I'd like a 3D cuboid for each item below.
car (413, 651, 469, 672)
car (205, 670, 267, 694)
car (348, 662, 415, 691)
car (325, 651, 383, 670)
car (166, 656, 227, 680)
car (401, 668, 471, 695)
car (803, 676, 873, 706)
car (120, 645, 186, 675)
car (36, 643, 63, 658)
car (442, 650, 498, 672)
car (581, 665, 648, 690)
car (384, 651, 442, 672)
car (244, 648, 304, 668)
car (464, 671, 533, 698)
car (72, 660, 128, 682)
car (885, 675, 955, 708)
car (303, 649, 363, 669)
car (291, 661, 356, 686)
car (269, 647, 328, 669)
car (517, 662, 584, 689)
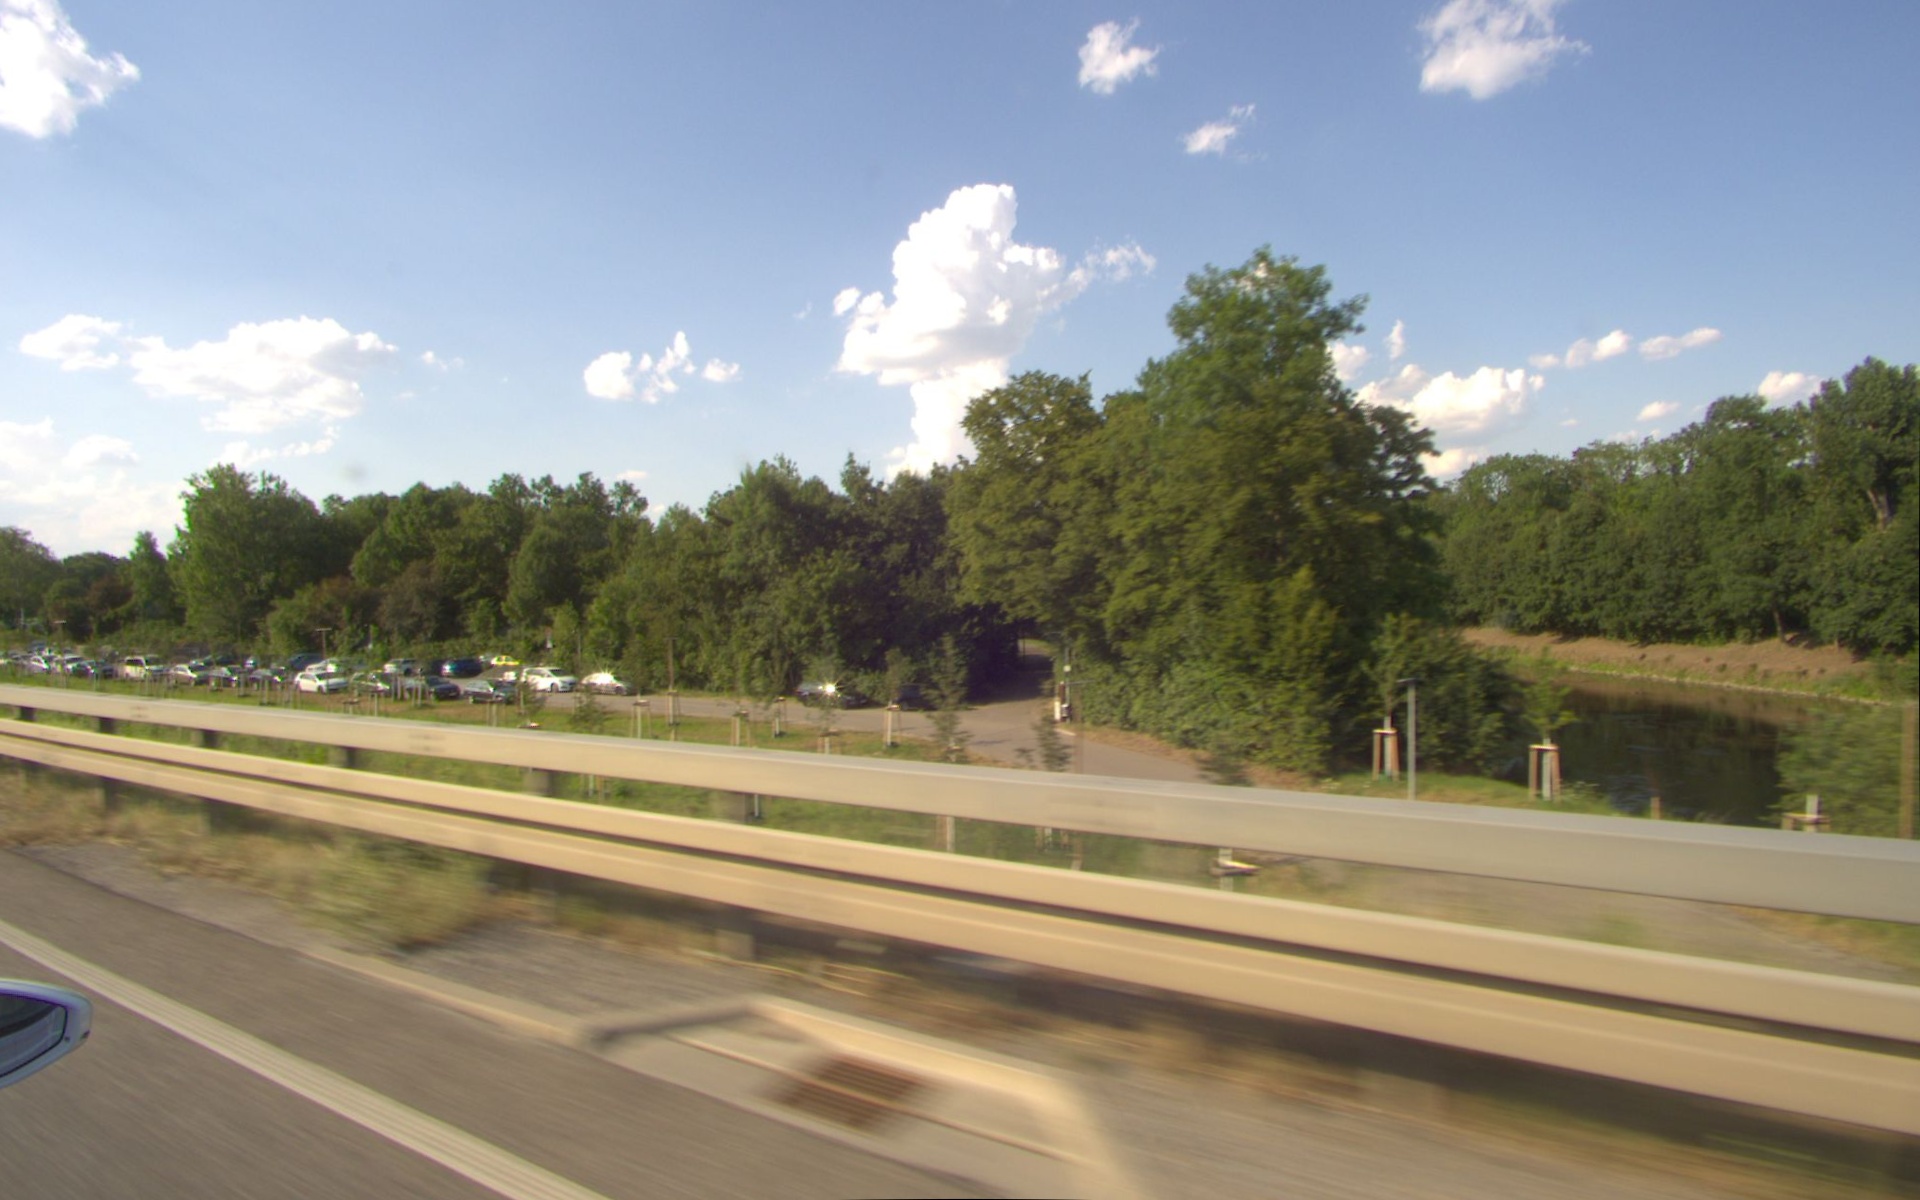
[{"bbox_3d":[-43.355,5.083,83.770,1.589,1.475,4.237,0,0,20],"label":"car"},{"bbox_3d":[-54.956,6.219,76.040,4.321,1.503,1.818,0,2,23],"label":"car"},{"bbox_3d":[-39.810,5.223,68.877,4.185,1.681,1.818,0,2,23],"label":"car"},{"bbox_3d":[-51.904,5.139,85.828,1.589,1.475,4.238,-1,-1,20],"label":"car"},{"bbox_3d":[-60.121,5.336,78.815,4.706,1.503,1.889,0,4,27],"label":"car"},{"bbox_3d":[-34.772,5.382,66.419,4.185,1.421,1.818,0,2,23],"label":"car"},{"bbox_3d":[-6.960,5.171,57.096,3.777,1.516,1.650,-2,0,34],"label":"car"},{"bbox_3d":[-65.954,4.865,81.846,5.293,2.047,2.116,0,4,27],"label":"car"},{"bbox_3d":[-101.837,5.625,112.008,4.732,1.418,1.691,-1,3,42],"label":"car"},{"bbox_3d":[-40.646,5.052,83.194,1.589,1.475,4.236,0,1,20],"label":"car"},{"bbox_3d":[-22.683,5.068,65.807,4.155,1.516,1.654,-2,0,25],"label":"car"},{"bbox_3d":[-46.193,5.172,84.642,1.703,1.475,4.409,0,0,17],"label":"car"},{"bbox_3d":[-62.796,5.268,91.683,1.804,1.625,4.233,-1,-1,26],"label":"car"},{"bbox_3d":[-29.273,5.347,63.567,4.155,1.516,1.654,-2,0,25],"label":"car"},{"bbox_3d":[-73.743,6.071,85.886,4.706,1.503,1.889,0,4,27],"label":"car"},{"bbox_3d":[-2.227,5.062,55.734,3.618,1.516,1.657,-2,0,-15],"label":"car"},{"bbox_3d":[-54.453,5.079,86.978,1.741,1.518,4.237,0,-1,21],"label":"car"},{"bbox_3d":[-45.509,5.231,71.631,4.185,1.503,1.818,0,2,23],"label":"car"},{"bbox_3d":[-59.461,5.173,90.089,1.802,1.765,4.237,0,-1,21],"label":"car"},{"bbox_3d":[-28.131,5.133,68.696,4.636,1.688,1.653,-2,0,28],"label":"car"}]
